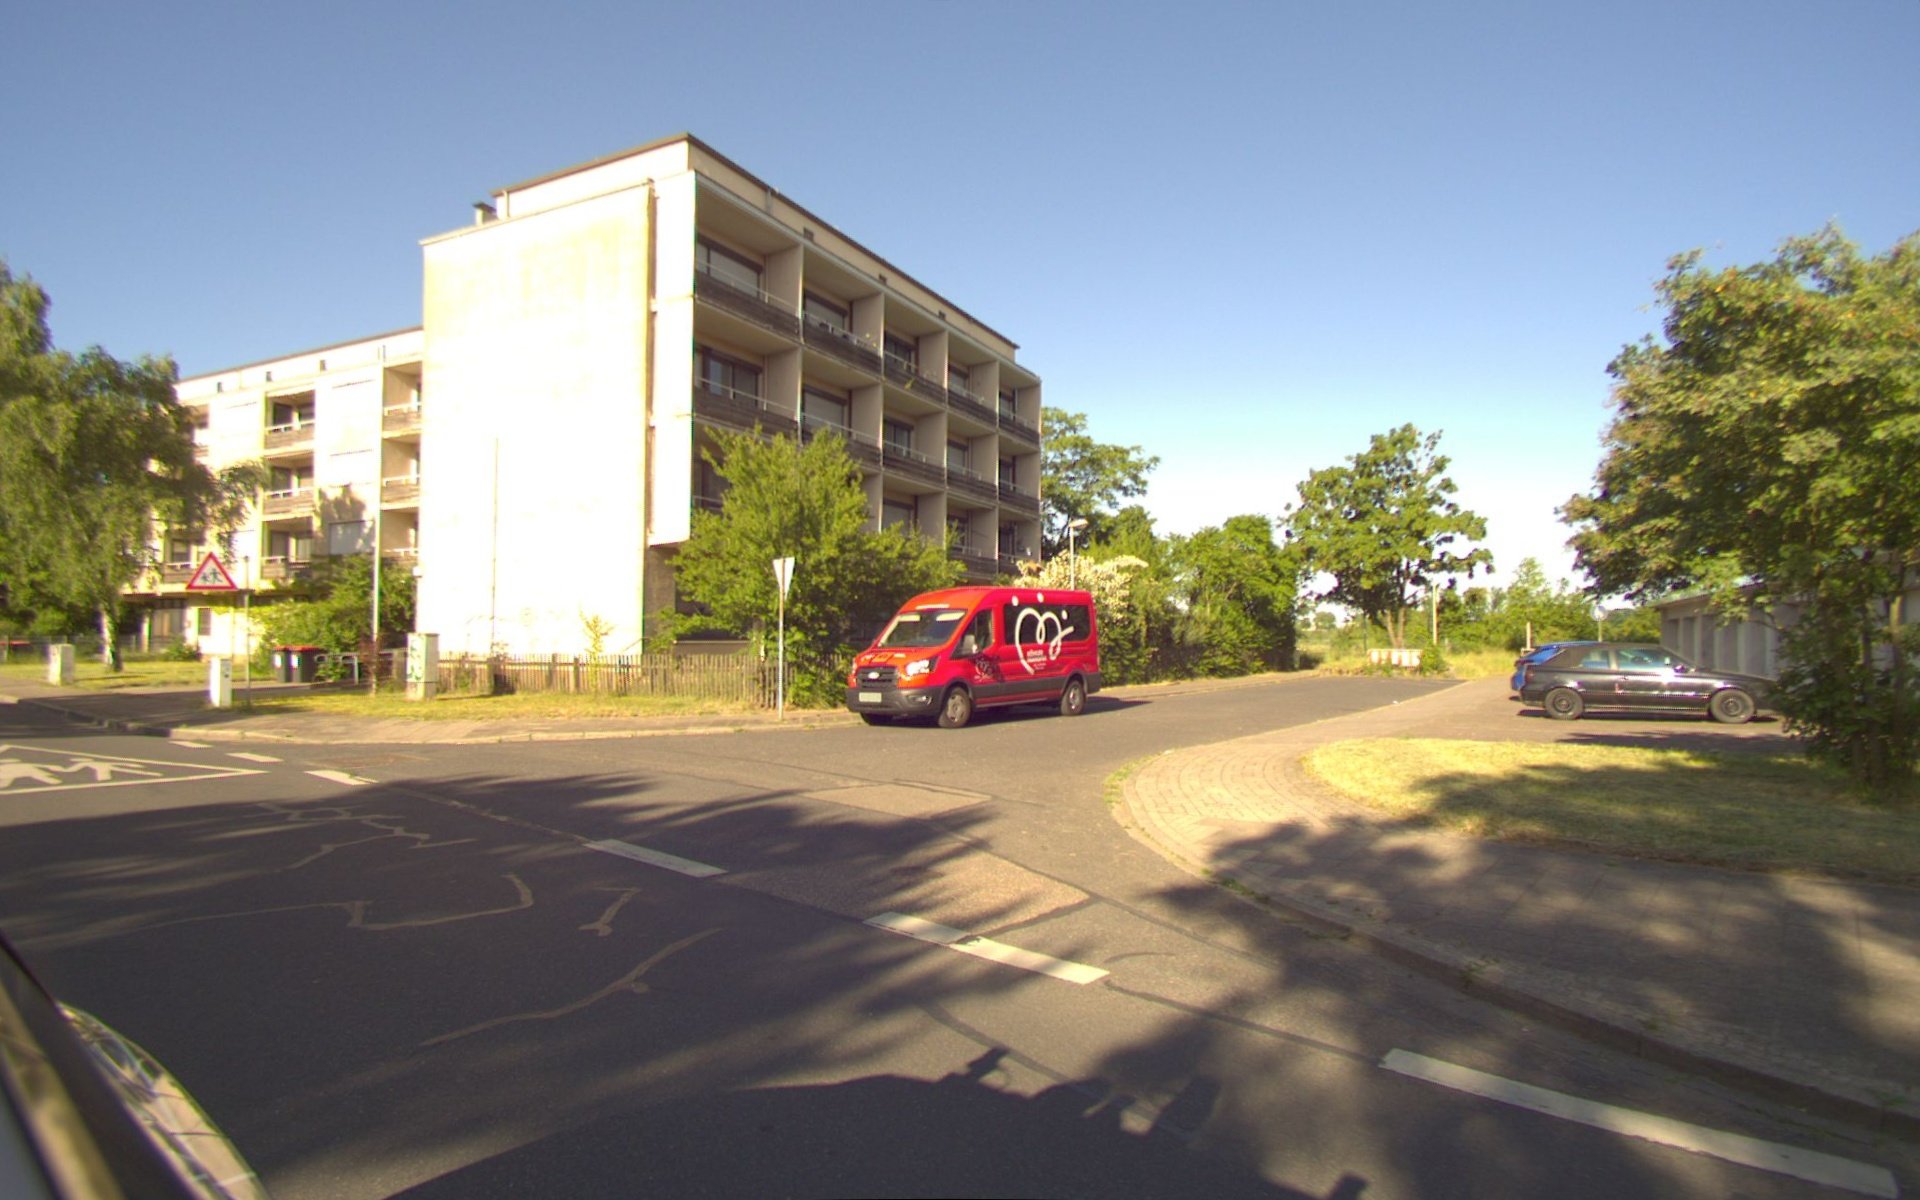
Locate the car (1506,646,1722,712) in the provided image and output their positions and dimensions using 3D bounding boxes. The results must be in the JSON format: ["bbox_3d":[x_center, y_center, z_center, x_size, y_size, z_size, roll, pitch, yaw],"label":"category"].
[{"bbox_3d":[14.998,1.793,23.506,4.013,1.399,1.829,-1,-4,28],"label":"car"}]

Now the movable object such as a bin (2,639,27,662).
[{"bbox_3d":[-42.678,2.289,45.678,0.708,1.032,0.616,-2,-4,32],"label":"movable object such as a bin"}]

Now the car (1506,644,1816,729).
[{"bbox_3d":[12.464,1.537,18.354,4.354,1.367,1.937,-3,-4,32],"label":"car"}]

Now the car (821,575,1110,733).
[{"bbox_3d":[0.318,1.038,18.674,2.210,2.447,5.847,-4,-5,38],"label":"car"}]

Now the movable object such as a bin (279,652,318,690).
[{"bbox_3d":[-19.139,2.044,29.288,0.696,1.056,0.625,0,-3,16],"label":"movable object such as a bin"}]

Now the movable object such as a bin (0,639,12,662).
[{"bbox_3d":[-42.930,2.255,45.232,0.708,1.032,0.616,-2,-4,32],"label":"movable object such as a bin"}]

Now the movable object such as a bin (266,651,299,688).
[{"bbox_3d":[-19.743,2.012,29.494,0.552,1.061,0.562,0,-3,17],"label":"movable object such as a bin"}]
